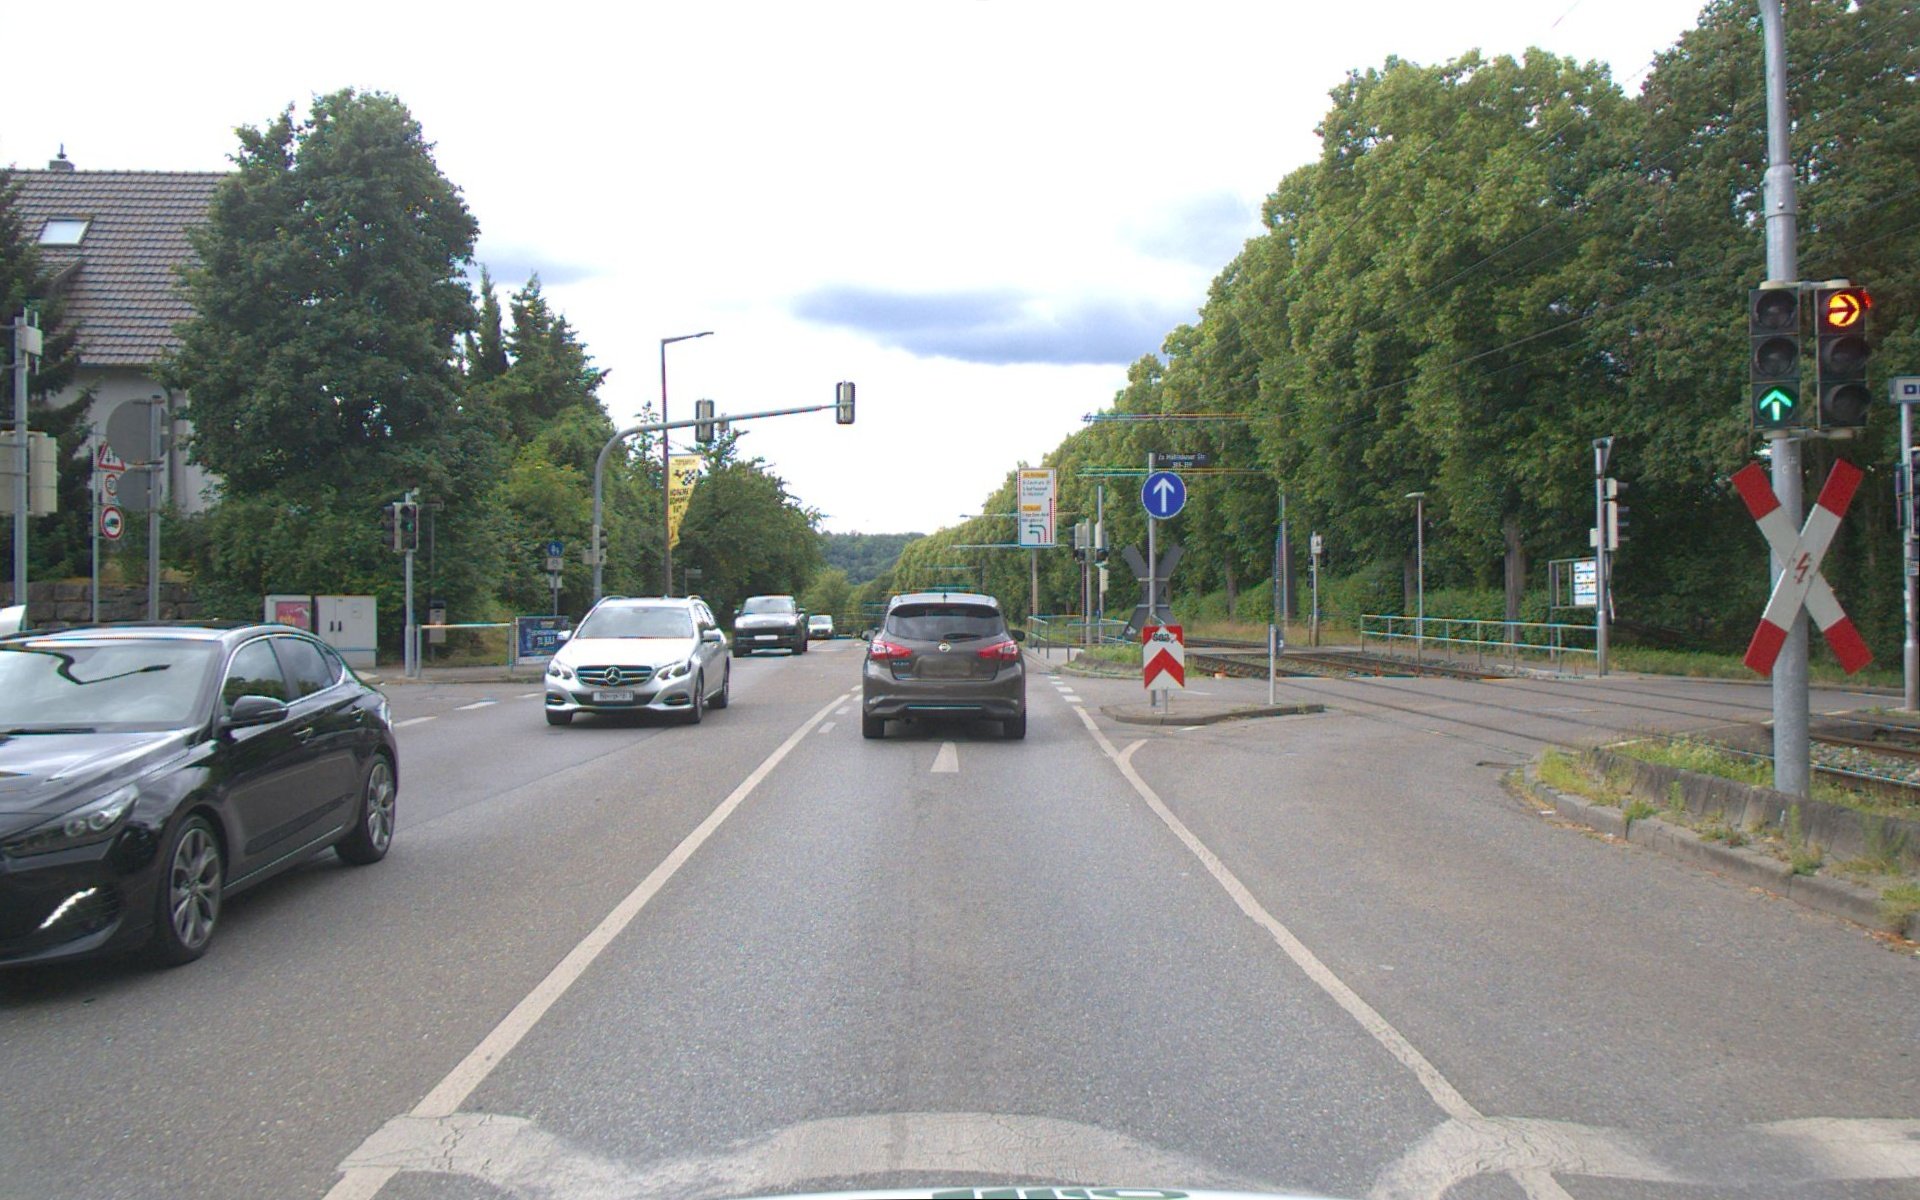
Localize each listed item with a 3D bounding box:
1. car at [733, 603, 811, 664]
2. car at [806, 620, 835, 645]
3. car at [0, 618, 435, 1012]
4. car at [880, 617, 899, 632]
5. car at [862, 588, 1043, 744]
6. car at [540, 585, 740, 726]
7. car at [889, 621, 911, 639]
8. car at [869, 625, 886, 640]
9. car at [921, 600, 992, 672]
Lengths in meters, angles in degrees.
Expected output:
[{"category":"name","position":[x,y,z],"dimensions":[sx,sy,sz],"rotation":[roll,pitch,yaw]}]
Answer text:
[{"category":"car","position":[-5.260,0.934,46.677],"dimensions":[1.863,1.601,4.479],"rotation":[1,-1,-3]},{"category":"car","position":[-9.592,2.217,113.880],"dimensions":[1.749,1.725,3.998],"rotation":[-1,-1,-2]},{"category":"car","position":[-4.171,0.837,8.239],"dimensions":[1.775,1.397,4.160],"rotation":[-1,0,0]},{"category":"car","position":[-6.505,2.248,152.176],"dimensions":[1.707,1.333,3.998],"rotation":[2,0,-3]},{"category":"car","position":[-0.096,0.651,18.938],"dimensions":[1.798,1.545,4.482],"rotation":[1,0,-1]},{"category":"car","position":[-3.993,0.625,21.448],"dimensions":[1.782,1.594,5.202],"rotation":[1,0,-3]},{"category":"car","position":[-4.915,2.446,135.679],"dimensions":[1.707,1.333,3.998],"rotation":[2,0,-3]},{"category":"car","position":[-8.579,3.388,172.630],"dimensions":[1.707,1.333,3.998],"rotation":[2,0,-3]},{"category":"car","position":[-0.098,0.771,37.598],"dimensions":[1.507,1.504,3.763],"rotation":[-1,0,-1]}]
